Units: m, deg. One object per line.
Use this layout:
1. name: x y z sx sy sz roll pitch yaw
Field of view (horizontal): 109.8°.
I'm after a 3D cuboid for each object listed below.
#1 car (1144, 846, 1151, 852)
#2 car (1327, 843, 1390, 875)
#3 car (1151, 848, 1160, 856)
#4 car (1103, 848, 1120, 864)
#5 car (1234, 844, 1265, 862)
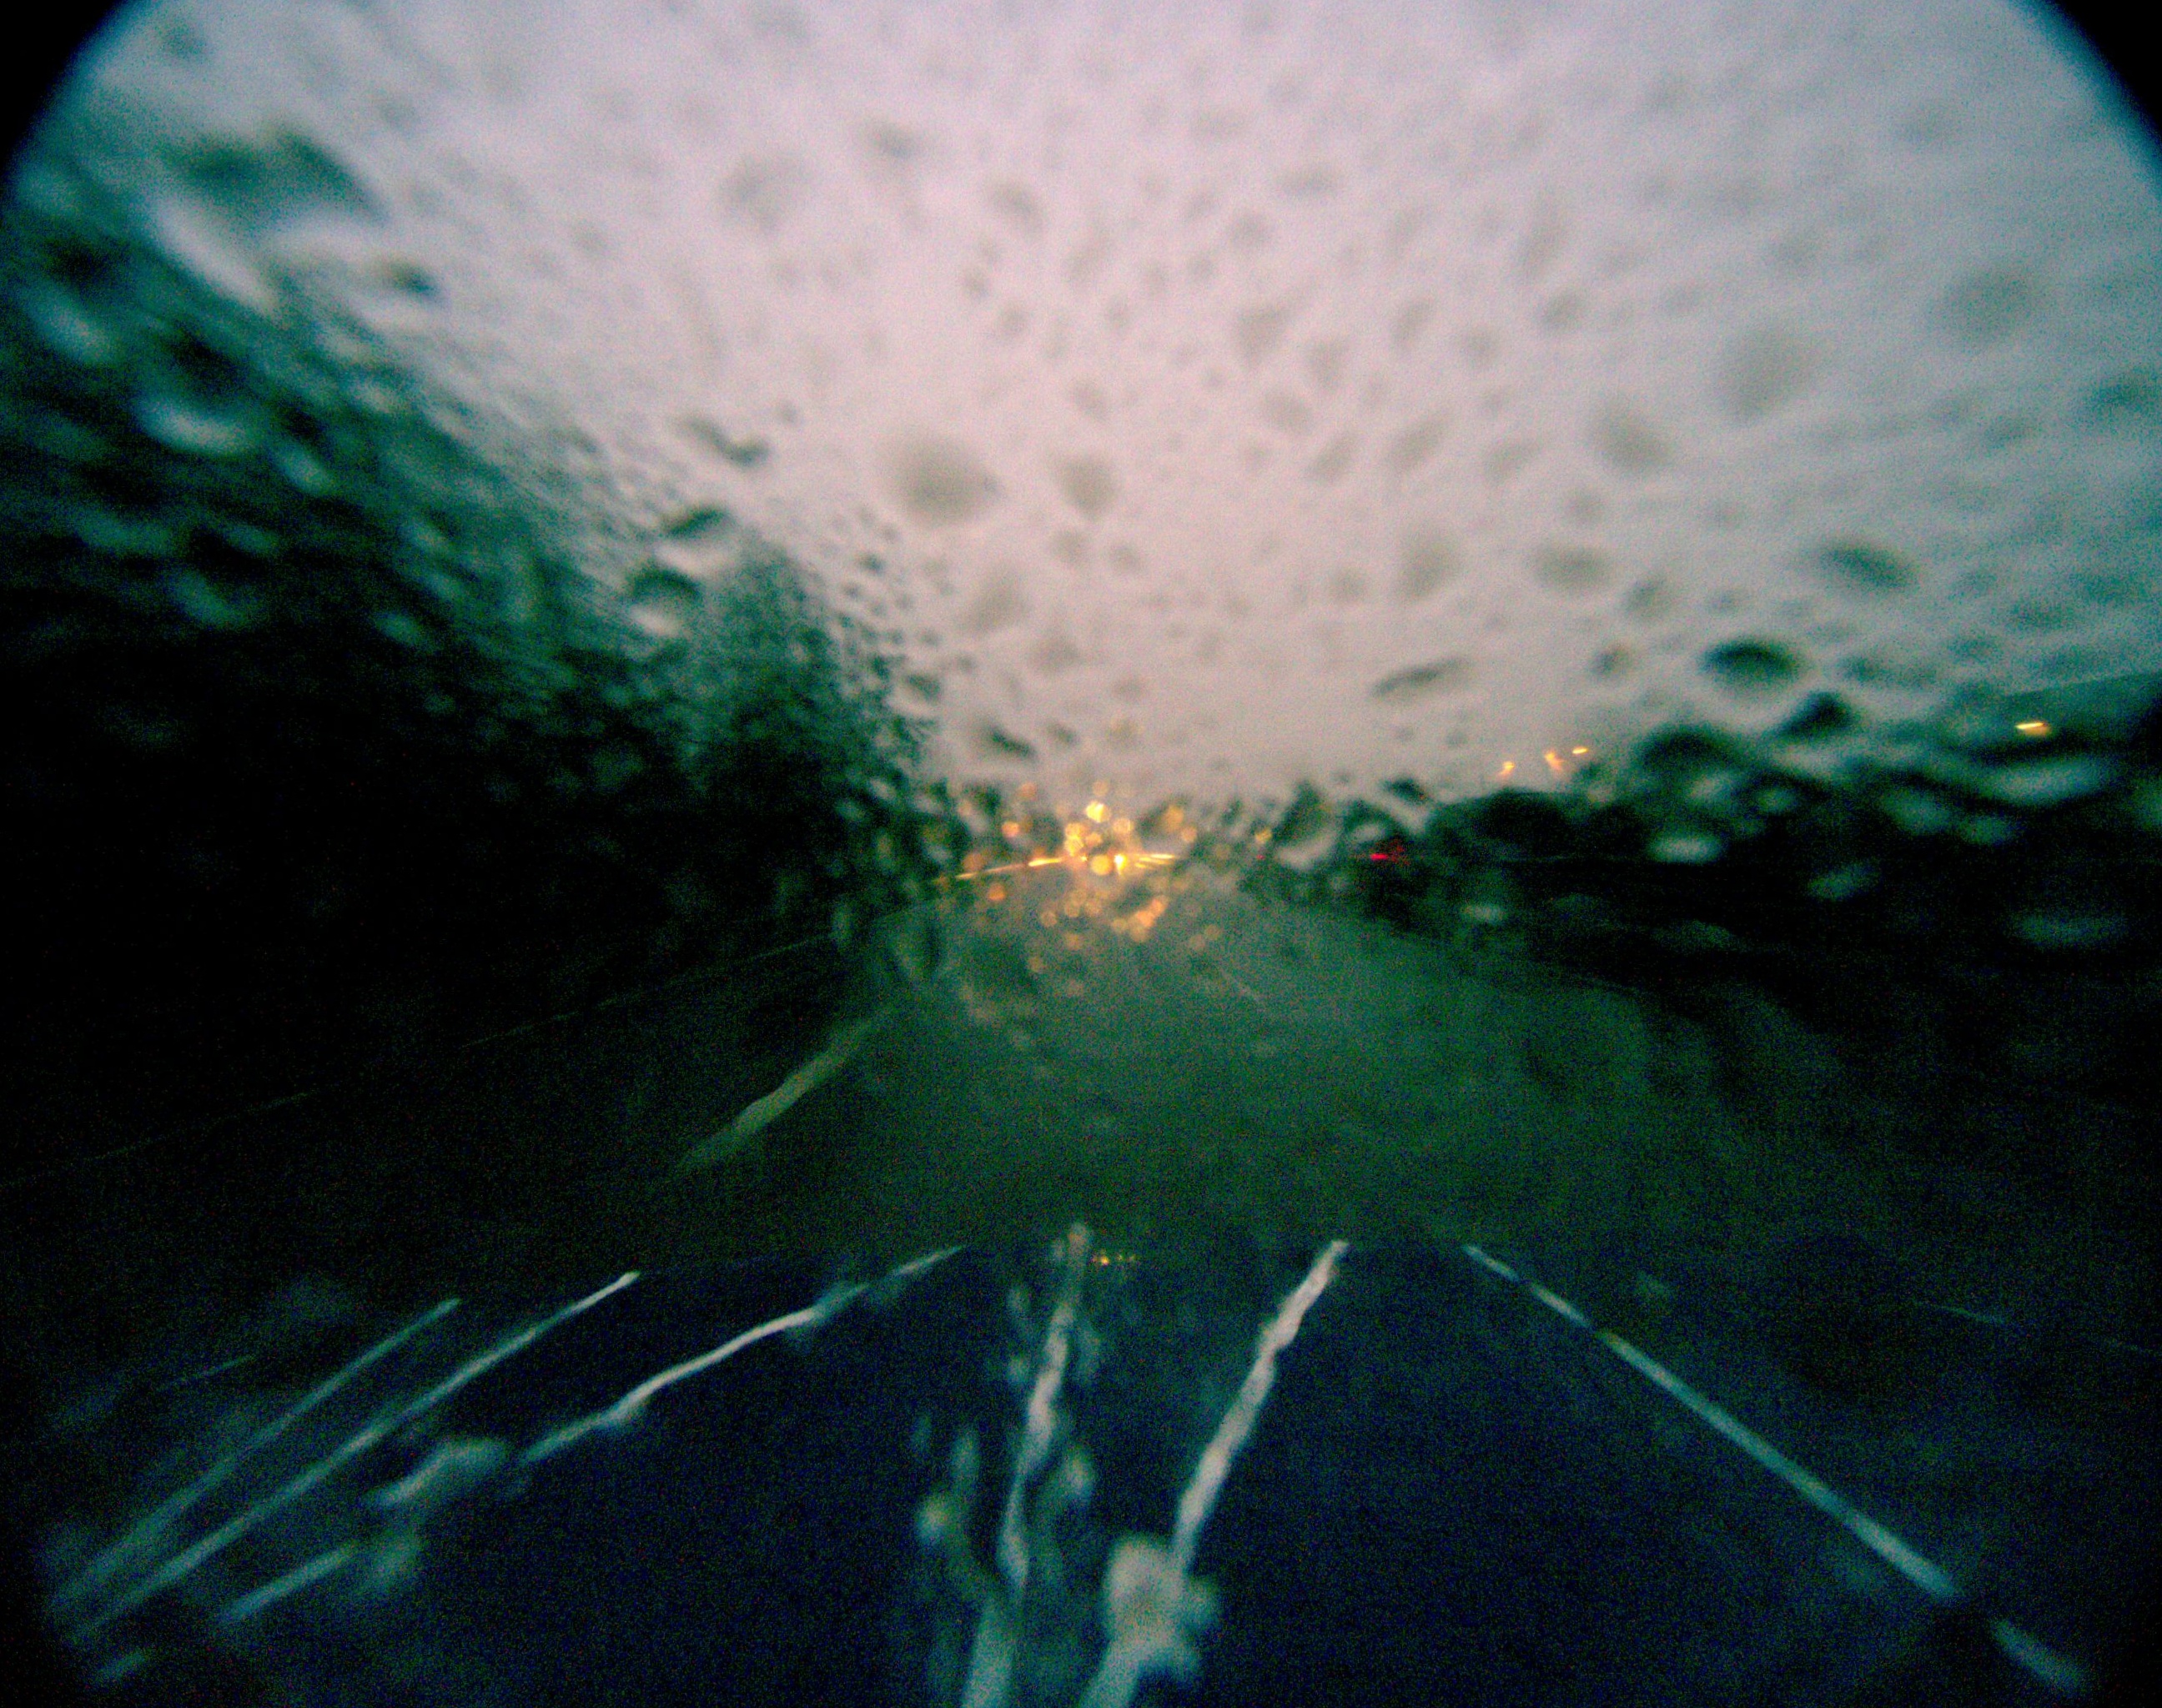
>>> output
1. car: 18.058 -1.363 206.150 1.745 1.630 4.000 -1 1 1
2. car: 14.081 0.211 38.814 1.707 1.466 4.365 -2 1 1
3. car: 15.755 -0.422 160.899 1.745 1.630 4.000 -1 1 1
4. car: 4.180 0.289 104.157 1.999 2.002 3.999 -5 0 -1
5. car: 14.352 -0.128 64.953 1.707 1.466 4.365 -2 1 1
